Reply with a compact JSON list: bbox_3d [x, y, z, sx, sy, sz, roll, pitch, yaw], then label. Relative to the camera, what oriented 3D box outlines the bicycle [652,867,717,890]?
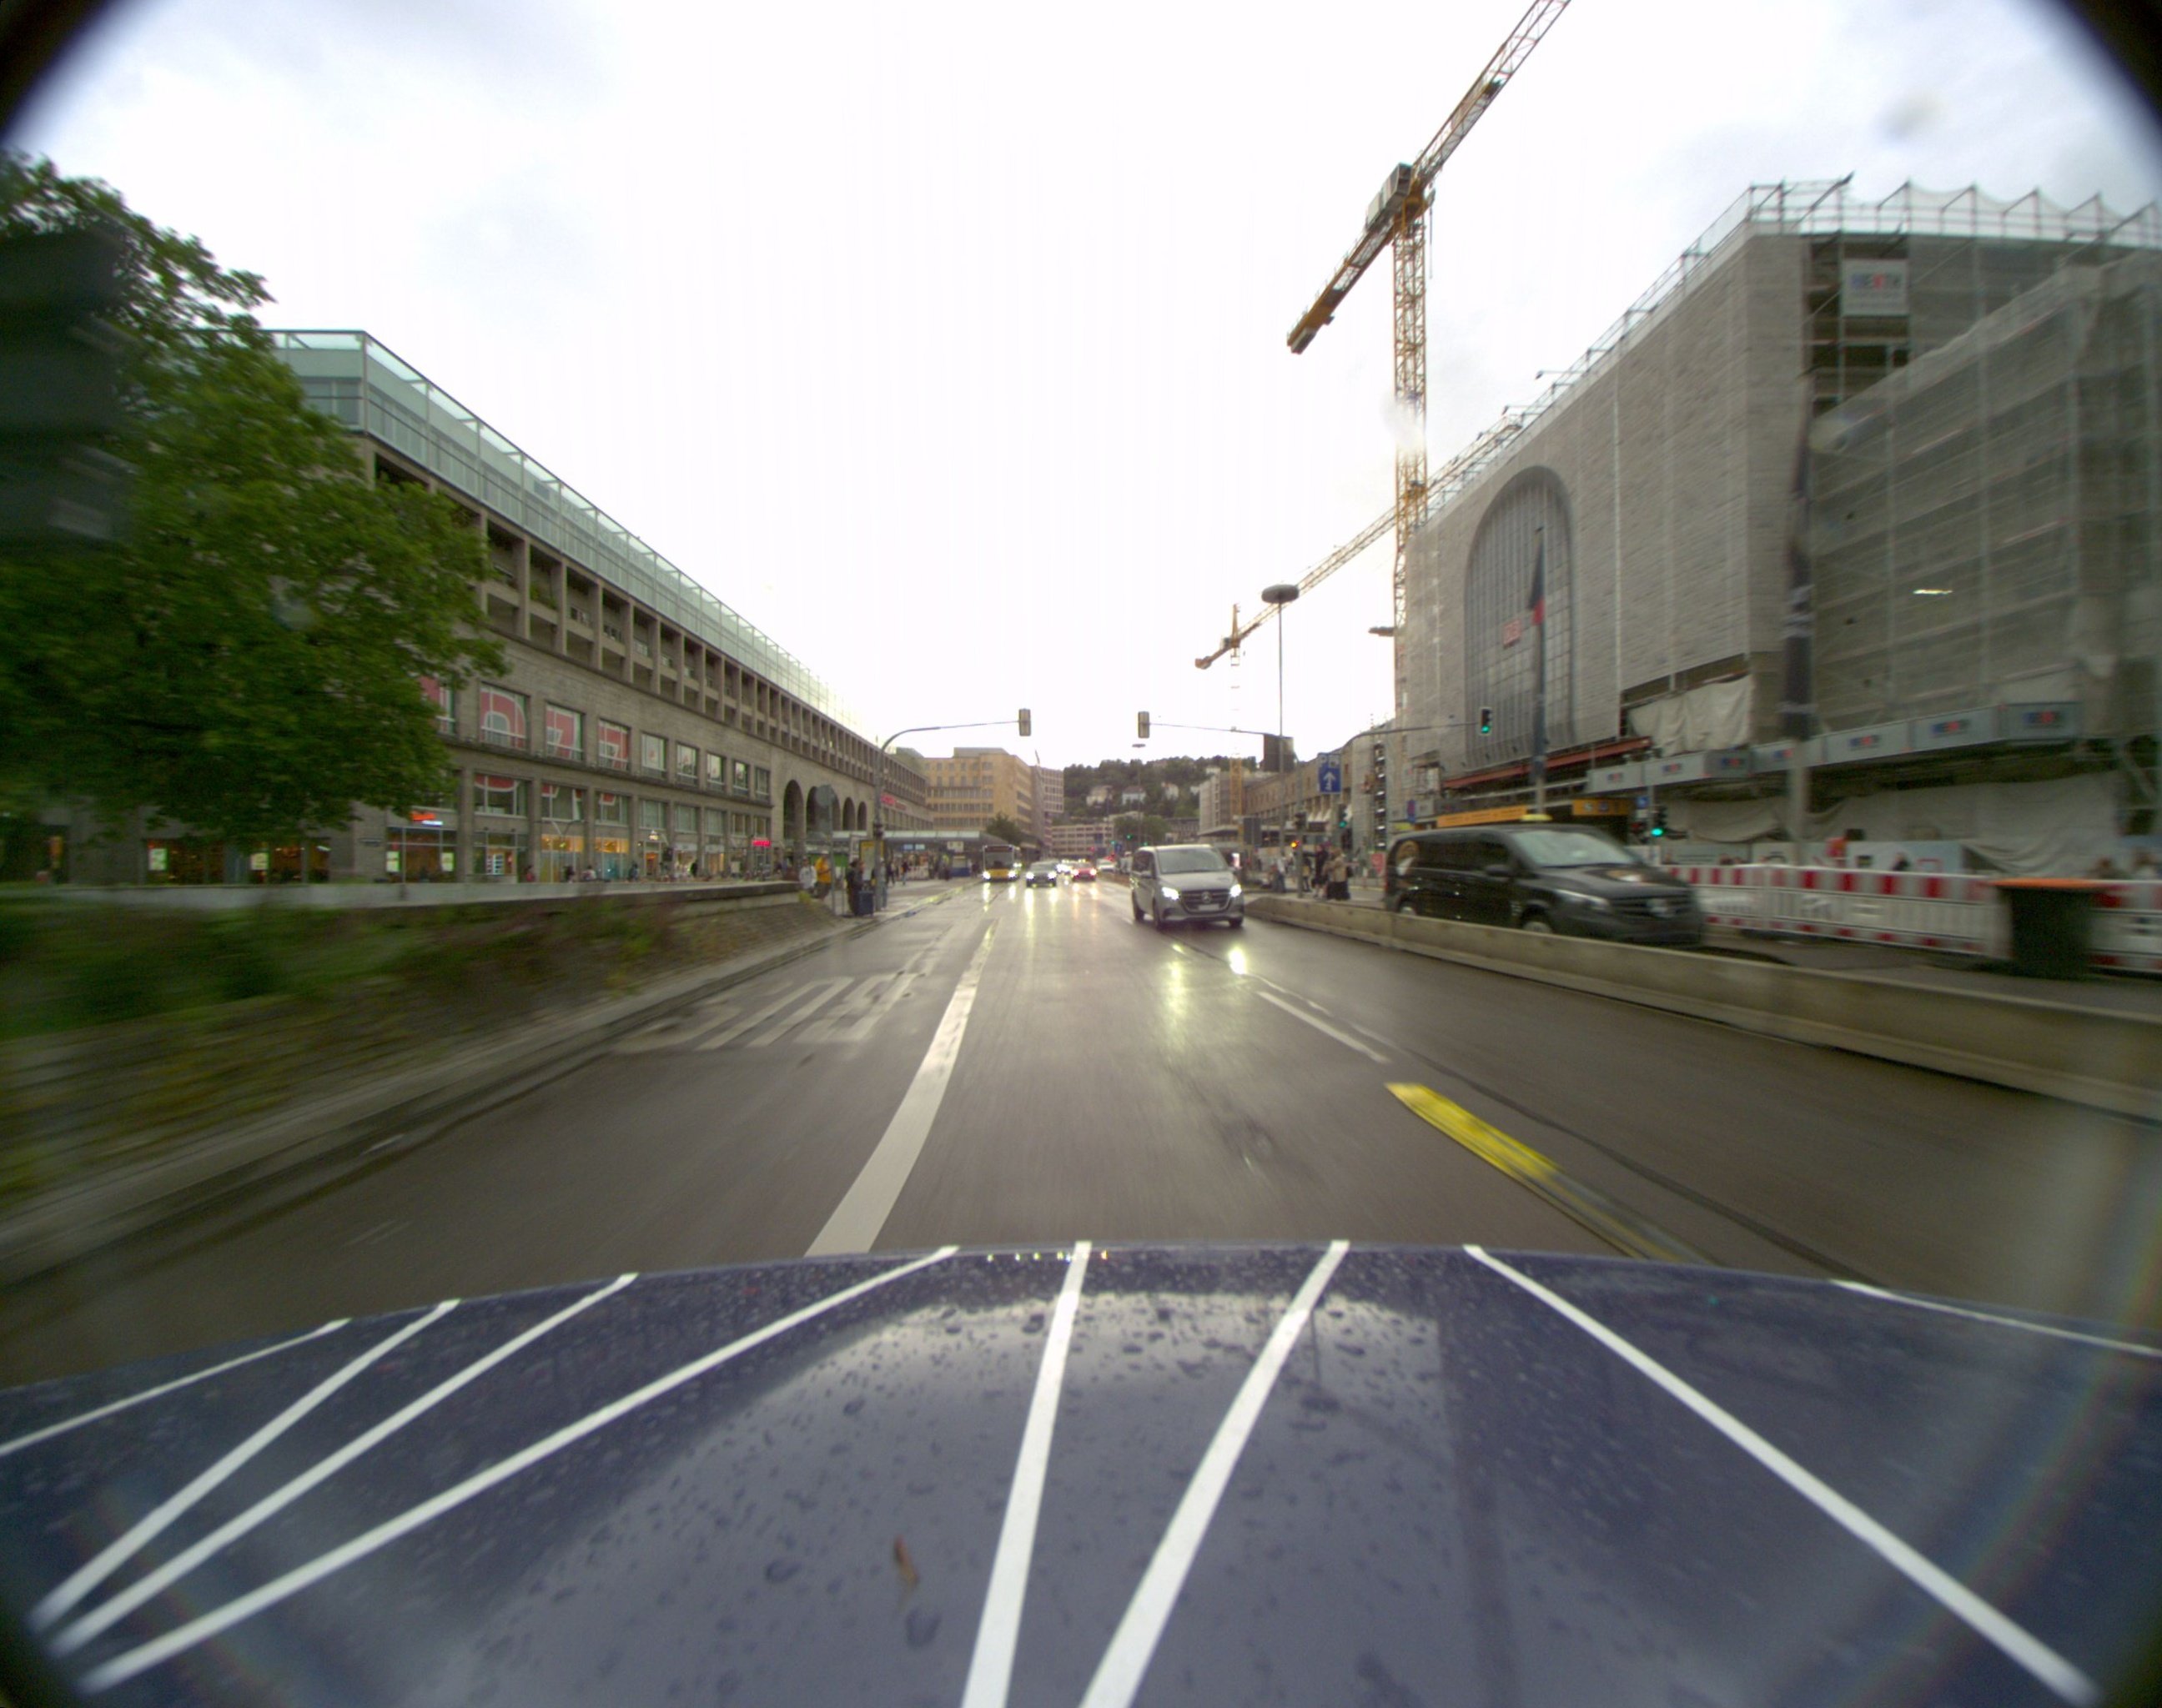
[{"bbox_3d":[-20.858,1.292,40.074,2.888,1.102,0.879,1,0,-14],"label":"bicycle"}]

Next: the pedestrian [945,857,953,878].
[{"bbox_3d":[-10.456,1.083,60.267,0.595,1.609,0.511,-2,1,-9],"label":"pedestrian"}]

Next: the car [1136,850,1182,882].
[{"bbox_3d":[4.539,0.676,44.935,1.999,1.776,4.846,0,0,-3],"label":"car"}]

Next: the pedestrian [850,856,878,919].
[{"bbox_3d":[-6.496,0.977,22.730,0.789,1.828,0.949,0,1,-17],"label":"pedestrian"}]

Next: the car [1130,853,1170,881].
[{"bbox_3d":[4.584,0.852,50.943,1.999,1.776,4.452,0,0,-4],"label":"car"}]

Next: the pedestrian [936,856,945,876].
[{"bbox_3d":[-13.209,1.136,71.439,0.796,1.918,0.705,0,1,-12],"label":"pedestrian"}]

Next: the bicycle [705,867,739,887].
[{"bbox_3d":[-20.576,1.316,43.635,1.738,1.102,0.687,1,0,-24],"label":"bicycle"}]

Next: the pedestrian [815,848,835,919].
[{"bbox_3d":[-7.890,0.900,23.415,0.556,2.133,0.667,0,1,-17],"label":"pedestrian"}]

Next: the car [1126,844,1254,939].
[{"bbox_3d":[2.414,0.780,18.280,1.999,1.893,5.249,-2,0,-3],"label":"car"}]

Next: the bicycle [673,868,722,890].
[{"bbox_3d":[-20.653,1.325,40.958,2.234,1.103,0.741,-2,1,-17],"label":"bicycle"}]

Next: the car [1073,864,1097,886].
[{"bbox_3d":[0.292,1.534,57.091,1.709,1.485,3.670,-2,0,-1],"label":"car"}]

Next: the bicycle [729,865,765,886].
[{"bbox_3d":[-20.760,1.355,47.273,1.993,1.230,0.618,1,0,8],"label":"bicycle"}]

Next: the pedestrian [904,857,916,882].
[{"bbox_3d":[-11.451,1.040,50.847,0.652,1.609,0.502,0,1,13],"label":"pedestrian"}]

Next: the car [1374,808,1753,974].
[{"bbox_3d":[6.524,0.404,11.219,1.999,1.834,5.059,-2,0,-6],"label":"car"}]

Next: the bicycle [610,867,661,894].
[{"bbox_3d":[-20.923,1.230,35.719,1.994,1.230,0.618,1,0,-1],"label":"bicycle"}]

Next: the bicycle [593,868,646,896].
[{"bbox_3d":[-20.887,1.263,34.413,1.994,1.230,0.618,1,0,-1],"label":"bicycle"}]

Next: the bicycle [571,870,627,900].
[{"bbox_3d":[-20.867,1.338,32.906,1.994,1.230,0.618,1,0,-1],"label":"bicycle"}]

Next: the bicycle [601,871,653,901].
[{"bbox_3d":[-20.924,1.488,35.051,1.994,1.327,0.618,1,0,-1],"label":"bicycle"}]

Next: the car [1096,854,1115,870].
[{"bbox_3d":[2.787,0.919,88.139,1.999,1.851,4.832,0,0,0],"label":"car"}]

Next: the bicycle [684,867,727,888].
[{"bbox_3d":[-20.663,1.310,41.843,1.984,1.102,0.824,1,0,-17],"label":"bicycle"}]

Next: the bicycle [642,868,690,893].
[{"bbox_3d":[-21.003,1.327,38.492,1.997,1.230,0.617,1,0,-15],"label":"bicycle"}]

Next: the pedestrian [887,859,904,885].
[{"bbox_3d":[-11.607,1.106,47.568,0.787,1.632,0.790,0,1,13],"label":"pedestrian"}]

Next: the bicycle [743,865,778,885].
[{"bbox_3d":[-20.312,1.340,48.138,1.993,1.230,0.618,1,0,8],"label":"bicycle"}]

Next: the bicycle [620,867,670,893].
[{"bbox_3d":[-20.883,1.242,36.416,1.994,1.230,0.618,1,0,-1],"label":"bicycle"}]

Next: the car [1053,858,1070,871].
[{"bbox_3d":[-2.372,1.242,92.712,1.998,1.548,3.908,-1,0,0],"label":"car"}]

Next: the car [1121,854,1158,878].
[{"bbox_3d":[4.265,0.861,56.015,2.055,1.701,5.053,0,0,-3],"label":"car"}]

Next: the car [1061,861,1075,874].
[{"bbox_3d":[-1.825,1.819,105.418,1.872,1.715,3.901,-2,0,-1],"label":"car"}]

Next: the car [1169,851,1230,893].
[{"bbox_3d":[5.072,0.736,33.140,1.791,1.675,4.665,0,0,-2],"label":"car"}]

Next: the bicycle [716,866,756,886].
[{"bbox_3d":[-20.389,1.326,44.880,2.093,1.133,0.888,1,0,-28],"label":"bicycle"}]

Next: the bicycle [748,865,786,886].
[{"bbox_3d":[-19.392,1.306,46.907,0.616,1.230,2.193,1,0,33],"label":"bicycle"}]

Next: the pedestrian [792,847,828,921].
[{"bbox_3d":[-7.971,0.861,22.383,0.710,2.133,0.722,0,1,9],"label":"pedestrian"}]

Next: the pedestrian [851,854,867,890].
[{"bbox_3d":[-11.998,0.949,41.064,0.708,1.921,0.788,0,1,-12],"label":"pedestrian"}]

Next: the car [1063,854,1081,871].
[{"bbox_3d":[-0.979,0.866,82.508,1.872,1.747,3.901,-2,1,-1],"label":"car"}]

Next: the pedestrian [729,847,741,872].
[{"bbox_3d":[-26.891,0.408,59.000,0.790,1.918,0.653,-1,1,-26],"label":"pedestrian"}]

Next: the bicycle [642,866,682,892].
[{"bbox_3d":[-20.837,1.235,37.808,1.620,1.218,0.618,1,0,-1],"label":"bicycle"}]

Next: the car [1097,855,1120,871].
[{"bbox_3d":[2.943,0.945,82.167,1.999,1.696,4.831,0,0,-3],"label":"car"}]

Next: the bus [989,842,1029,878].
[{"bbox_3d":[-6.884,0.526,73.737,3.149,3.229,9.133,-2,0,-1],"label":"bus"}]

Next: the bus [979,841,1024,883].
[{"bbox_3d":[-6.595,0.601,64.571,3.122,3.186,9.239,-2,0,-2],"label":"bus"}]

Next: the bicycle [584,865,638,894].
[{"bbox_3d":[-20.876,1.132,33.793,1.994,1.230,0.618,1,0,-1],"label":"bicycle"}]

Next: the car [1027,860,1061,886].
[{"bbox_3d":[-2.320,1.185,48.677,1.823,1.455,4.700,-3,0,0],"label":"car"}]

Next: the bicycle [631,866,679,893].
[{"bbox_3d":[-20.834,1.264,37.175,1.994,1.258,0.618,1,0,-1],"label":"bicycle"}]

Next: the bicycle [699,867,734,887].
[{"bbox_3d":[-20.495,1.296,42.767,1.697,1.102,0.673,1,0,-17],"label":"bicycle"}]

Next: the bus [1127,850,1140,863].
[{"bbox_3d":[14.940,0.724,216.825,2.917,3.556,19.078,0,0,1],"label":"bus"}]
